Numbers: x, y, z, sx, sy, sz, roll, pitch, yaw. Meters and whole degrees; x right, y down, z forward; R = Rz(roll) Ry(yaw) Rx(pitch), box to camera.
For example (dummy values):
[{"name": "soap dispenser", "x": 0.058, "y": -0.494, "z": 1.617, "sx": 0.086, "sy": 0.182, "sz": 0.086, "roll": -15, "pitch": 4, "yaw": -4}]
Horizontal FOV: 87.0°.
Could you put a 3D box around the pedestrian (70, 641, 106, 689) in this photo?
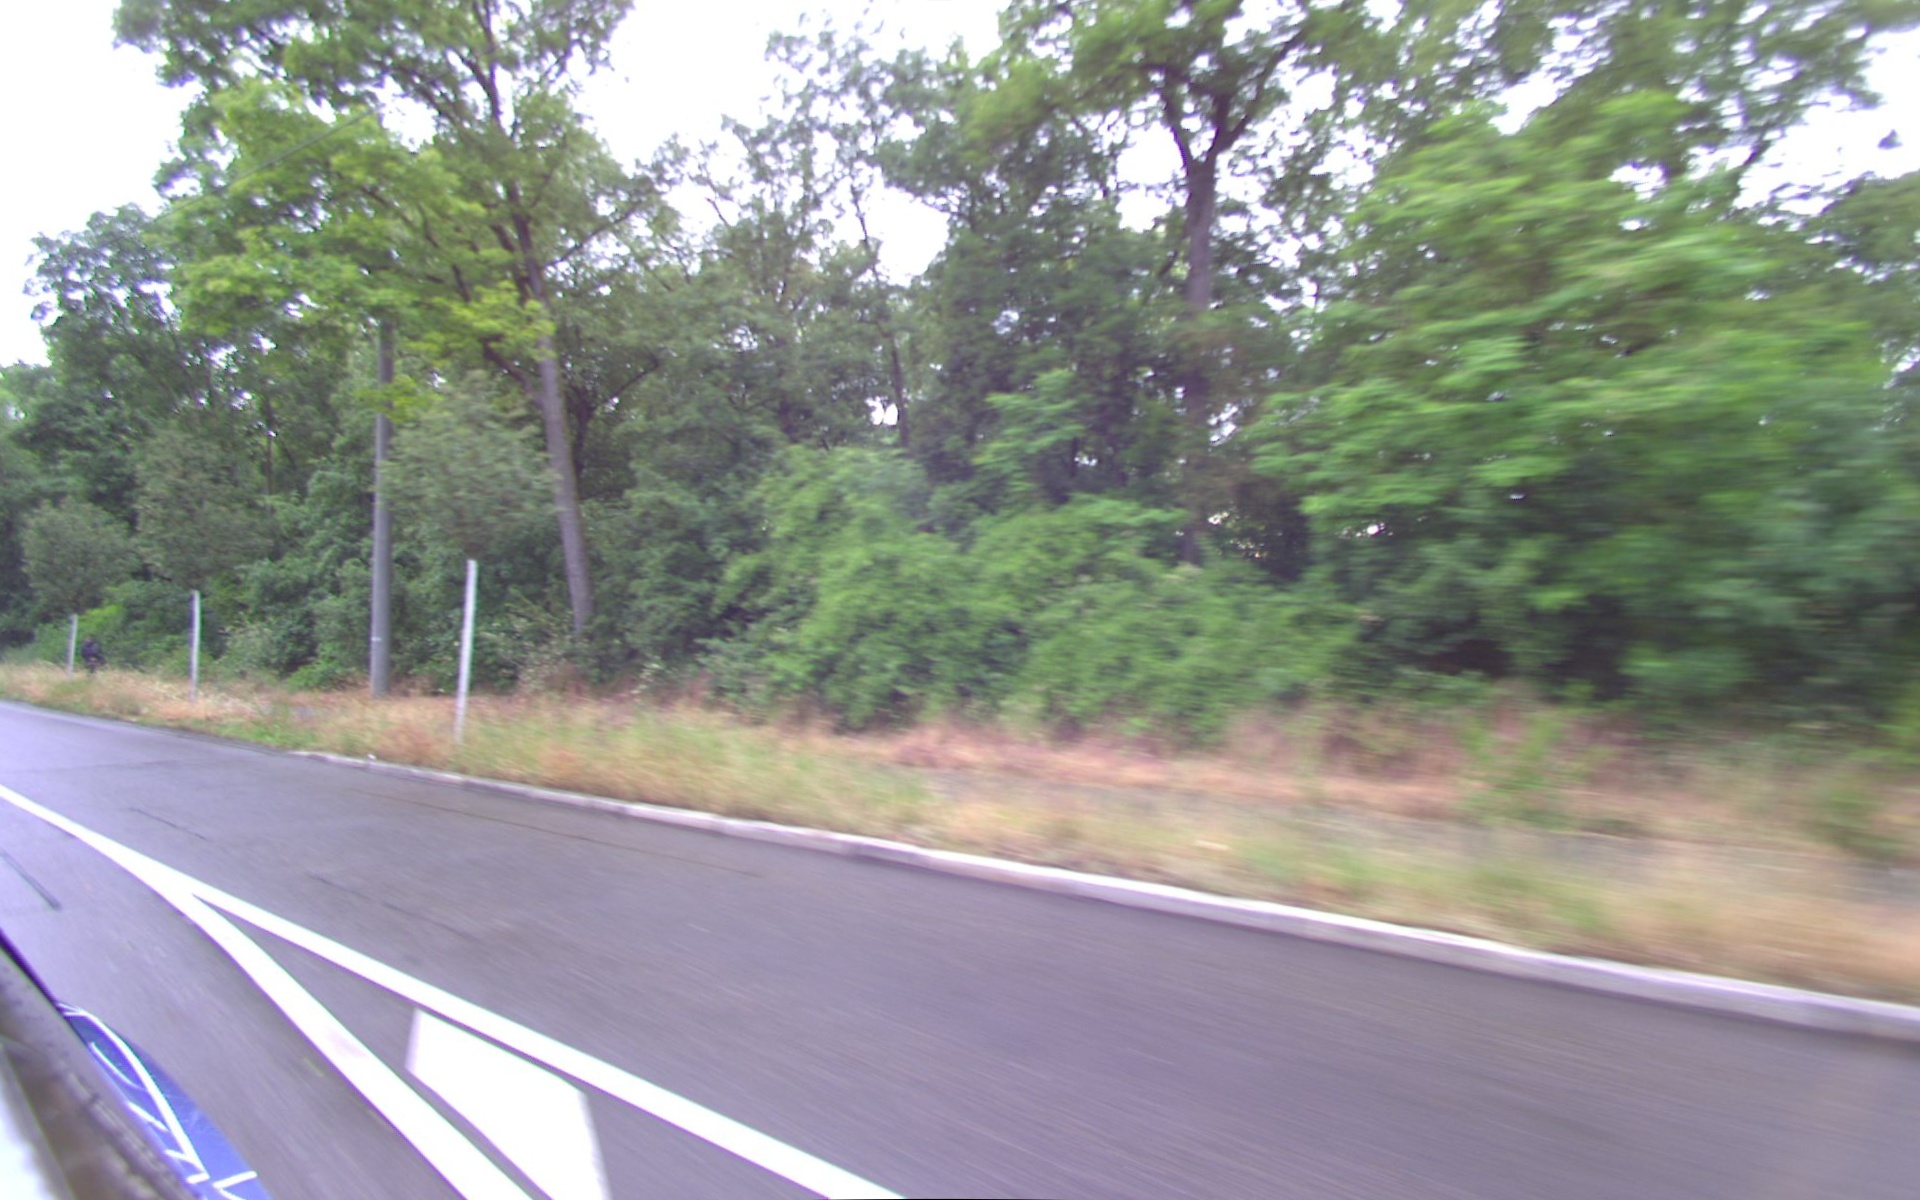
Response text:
[{"name": "pedestrian", "x": -30.055, "y": 2.236, "z": 34.892, "sx": 0.731, "sy": 1.620, "sz": 0.774, "roll": -2, "pitch": -3, "yaw": 37}]
